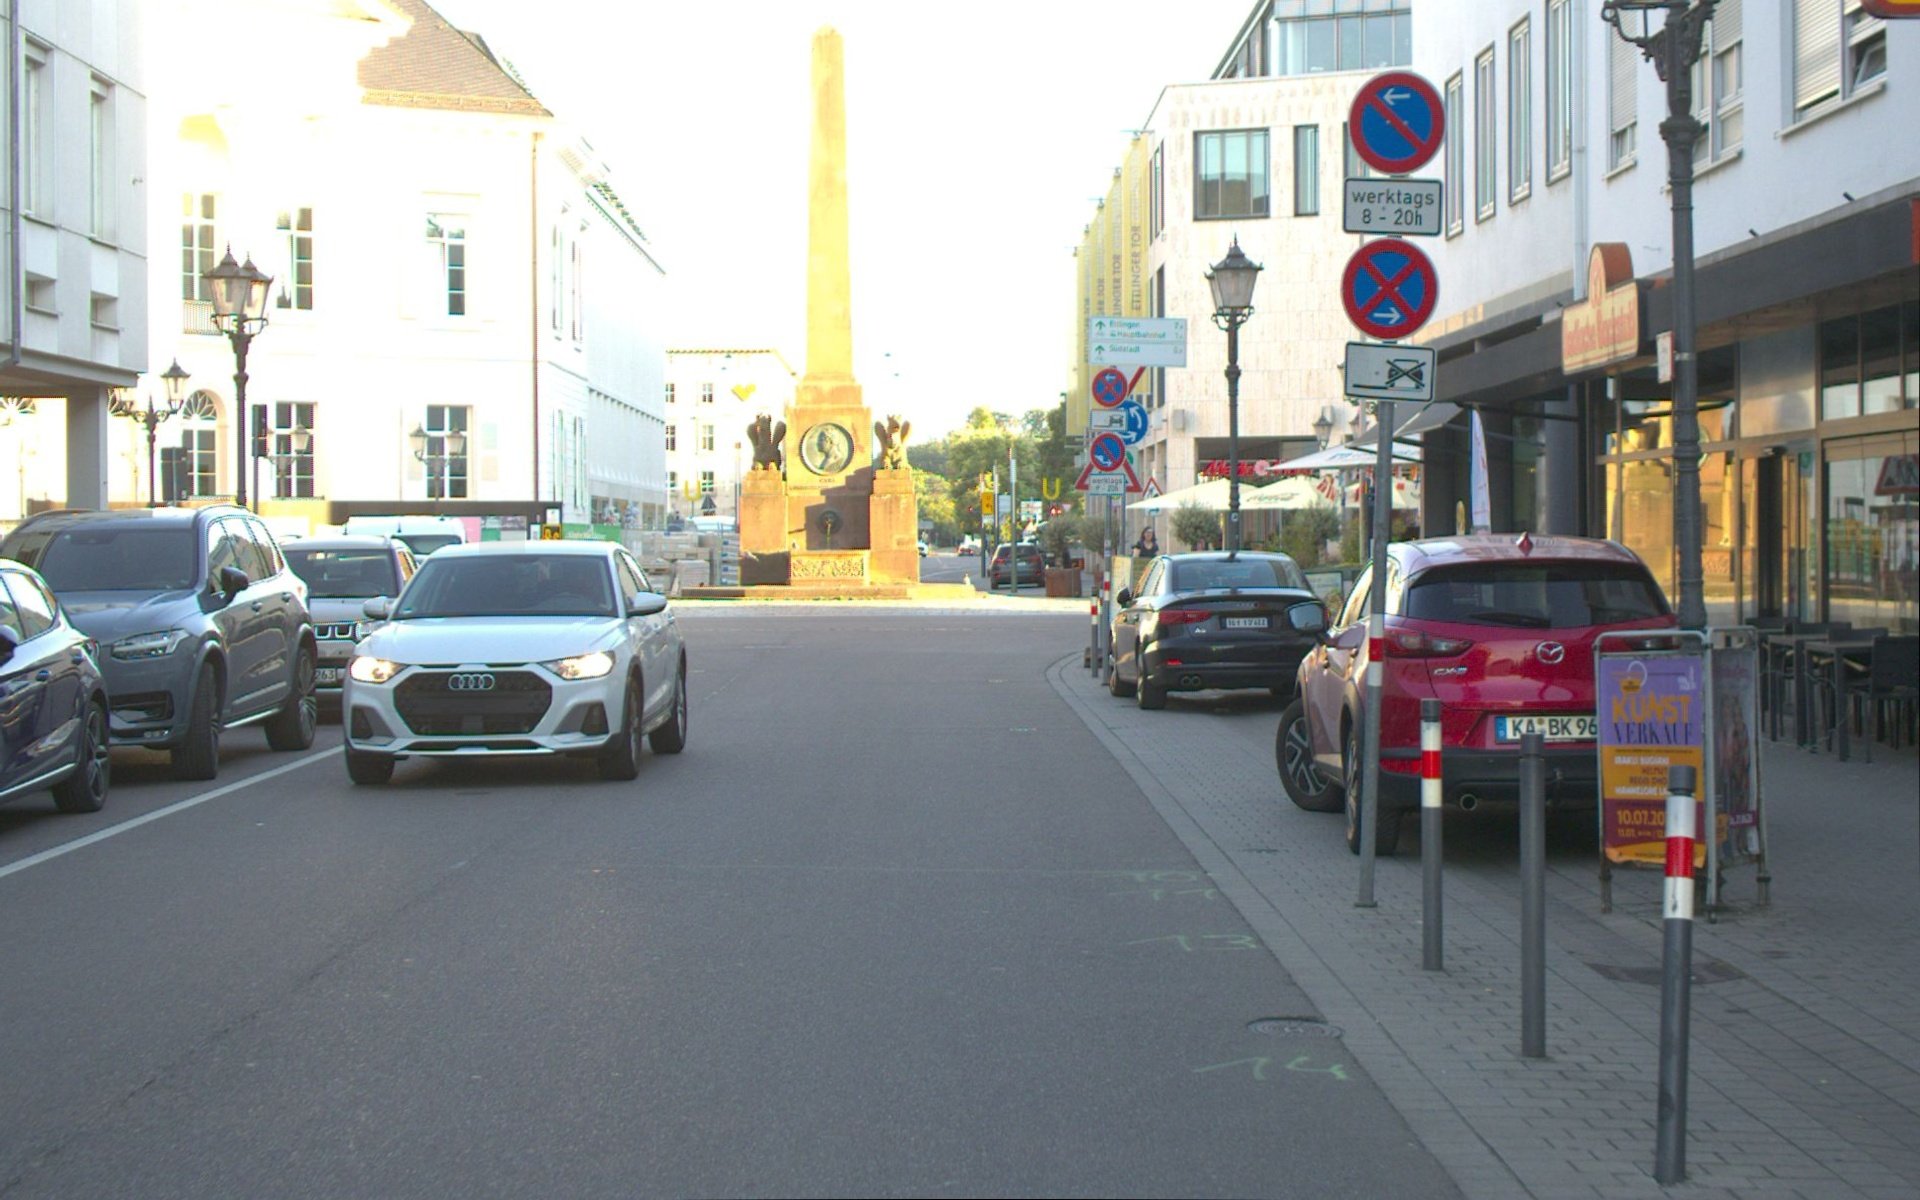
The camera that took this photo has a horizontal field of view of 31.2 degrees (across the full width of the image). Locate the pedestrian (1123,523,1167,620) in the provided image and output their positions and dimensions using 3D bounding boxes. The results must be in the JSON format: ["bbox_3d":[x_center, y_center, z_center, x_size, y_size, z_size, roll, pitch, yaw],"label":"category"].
[{"bbox_3d":[3.173,-0.496,58.986,0.690,1.642,0.696,0,1,-1],"label":"pedestrian"}]

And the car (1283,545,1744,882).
[{"bbox_3d":[2.714,0.491,17.624,1.759,1.518,3.677,0,1,0],"label":"car"}]

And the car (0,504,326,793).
[{"bbox_3d":[-5.685,0.256,23.026,1.993,1.722,4.516,-1,1,0],"label":"car"}]

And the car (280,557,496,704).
[{"bbox_3d":[-5.676,0.266,34.518,1.677,1.349,4.106,0,1,-3],"label":"car"}]

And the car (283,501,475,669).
[{"bbox_3d":[-6.618,-0.214,39.558,1.993,1.809,4.785,0,1,-7],"label":"car"}]

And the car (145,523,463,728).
[{"bbox_3d":[-5.603,0.163,29.848,1.993,1.656,4.000,0,1,0],"label":"car"}]

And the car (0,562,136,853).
[{"bbox_3d":[-5.573,0.532,17.859,1.673,1.395,4.000,-1,1,-1],"label":"car"}]

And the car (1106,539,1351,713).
[{"bbox_3d":[2.385,0.187,31.472,1.801,1.459,4.117,0,1,-1],"label":"car"}]

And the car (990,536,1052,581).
[{"bbox_3d":[2.006,-1.374,113.131,1.993,1.459,4.000,0,1,1],"label":"car"}]

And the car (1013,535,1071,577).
[{"bbox_3d":[2.889,-1.580,121.599,1.993,1.459,4.000,0,1,1],"label":"car"}]

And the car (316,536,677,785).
[{"bbox_3d":[-2.854,0.314,21.940,1.764,1.417,4.000,0,1,0],"label":"car"}]
